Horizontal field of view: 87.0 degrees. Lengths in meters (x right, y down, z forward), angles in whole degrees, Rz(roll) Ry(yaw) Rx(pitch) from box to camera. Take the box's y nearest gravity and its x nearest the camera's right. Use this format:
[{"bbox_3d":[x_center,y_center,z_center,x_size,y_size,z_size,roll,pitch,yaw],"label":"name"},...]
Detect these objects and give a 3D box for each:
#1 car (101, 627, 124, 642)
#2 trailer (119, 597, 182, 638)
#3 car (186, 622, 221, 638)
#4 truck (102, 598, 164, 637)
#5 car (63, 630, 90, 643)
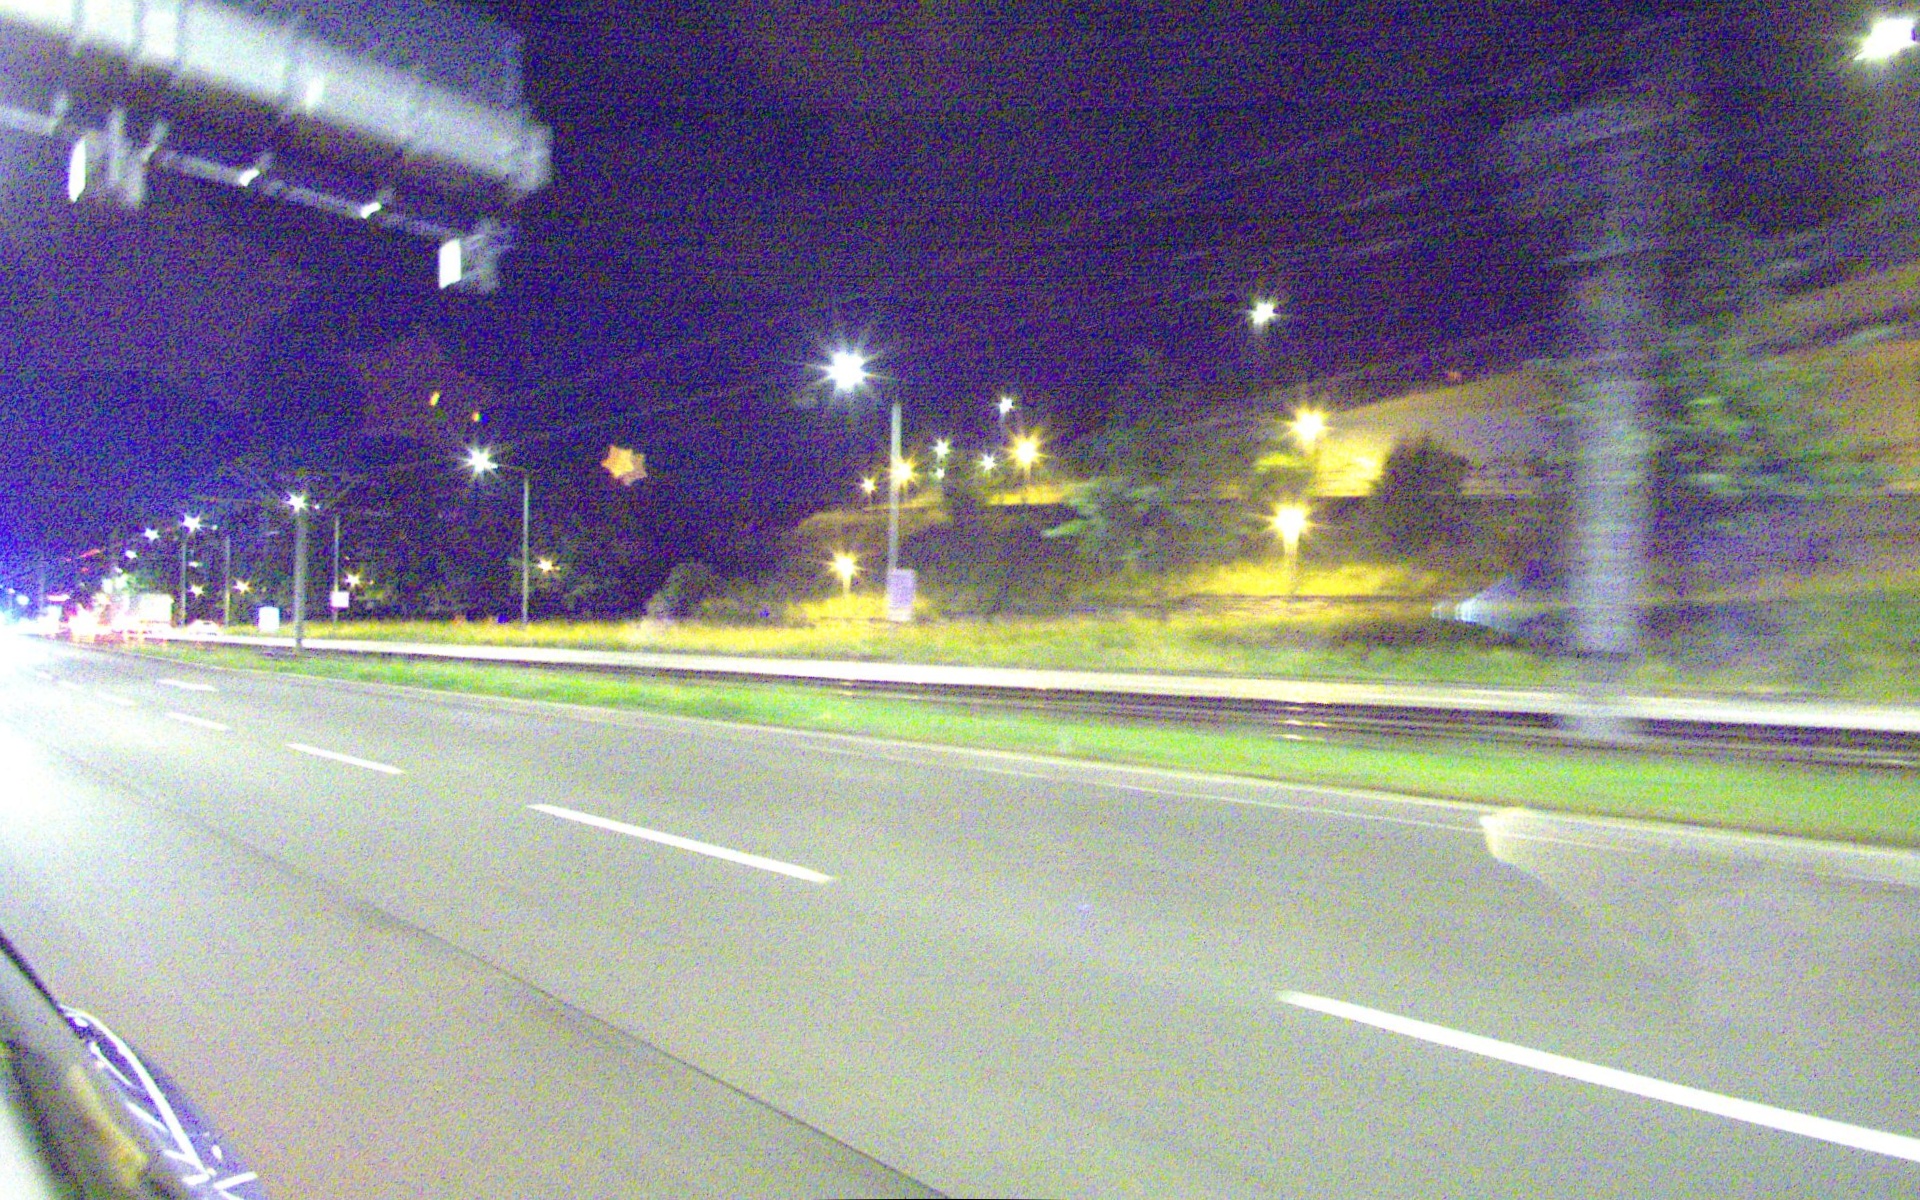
[{"bbox_3d":[-103.812,4.201,123.950,3.963,1.637,1.706,-1,0,44],"label":"car"},{"bbox_3d":[-82.753,1.764,103.437,8.393,4.019,3.657,-1,0,42],"label":"trailer"},{"bbox_3d":[-74.615,2.984,99.809,4.202,1.492,1.965,-1,-3,42],"label":"car"},{"bbox_3d":[-89.742,1.830,109.794,10.418,3.984,3.642,-1,0,42],"label":"truck"},{"bbox_3d":[-104.980,4.332,120.240,4.082,1.510,1.785,-1,-1,41],"label":"car"}]
